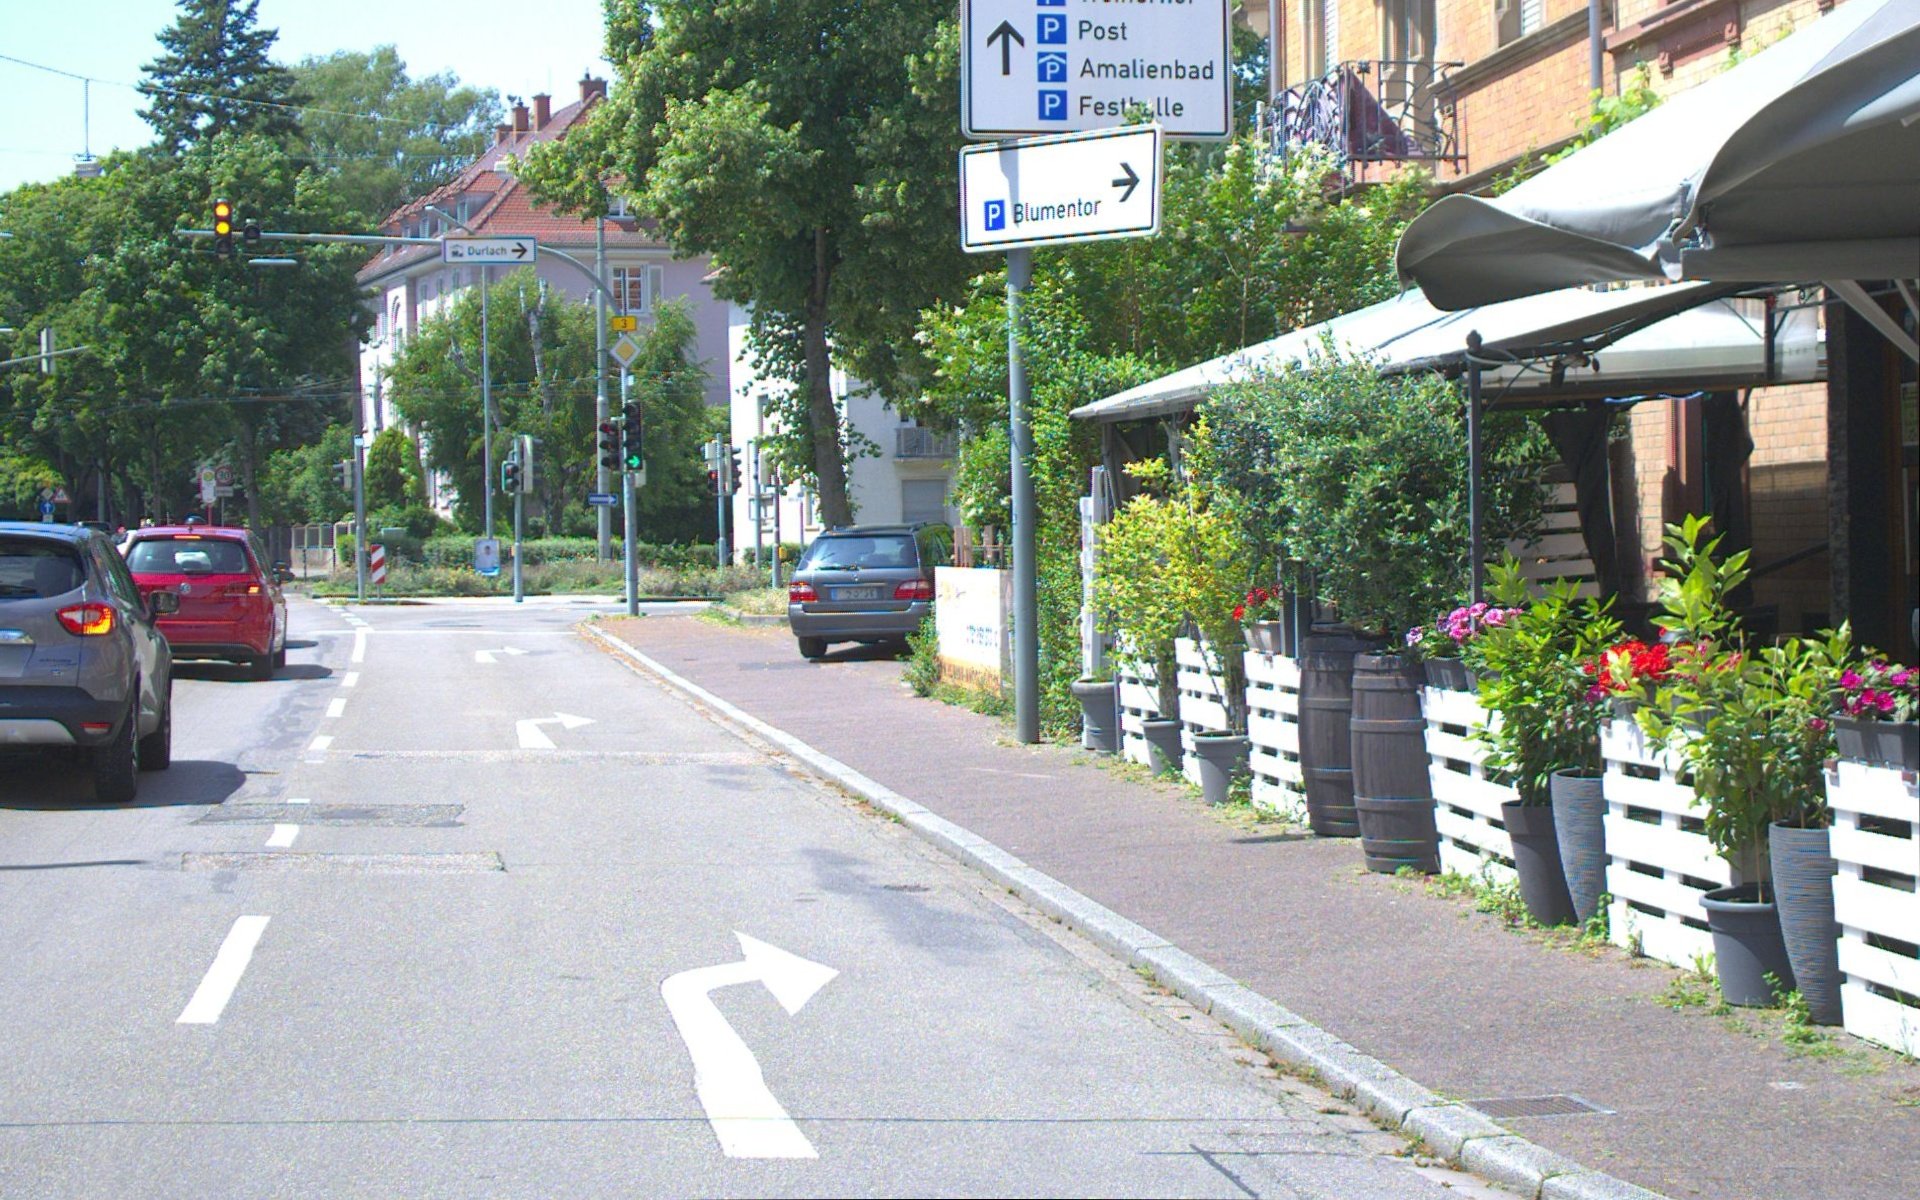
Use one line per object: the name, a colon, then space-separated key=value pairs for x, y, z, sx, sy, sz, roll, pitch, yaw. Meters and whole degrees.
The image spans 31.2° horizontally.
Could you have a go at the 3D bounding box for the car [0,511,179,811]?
car: x=-5.743 y=0.286 z=20.614 sx=1.753 sy=1.626 sz=4.001 roll=0 pitch=1 yaw=-8

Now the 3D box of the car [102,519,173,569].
car: x=-30.524 y=-2.081 z=127.532 sx=1.993 sy=1.801 sz=4.001 roll=0 pitch=1 yaw=-22

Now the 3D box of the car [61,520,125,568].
car: x=-35.351 y=-2.280 z=140.122 sx=1.993 sy=1.900 sz=4.001 roll=0 pitch=1 yaw=-22

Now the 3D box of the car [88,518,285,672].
car: x=-8.257 y=-0.078 z=36.970 sx=1.798 sy=1.552 sz=4.038 roll=0 pitch=1 yaw=-9

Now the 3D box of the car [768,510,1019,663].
car: x=-0.689 y=-0.212 z=39.935 sx=1.835 sy=1.543 sz=5.154 roll=-1 pitch=2 yaw=11

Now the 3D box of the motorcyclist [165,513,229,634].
motorcyclist: x=-9.251 y=-0.331 z=41.704 sx=0.710 sy=1.440 sz=1.019 roll=0 pitch=1 yaw=-11

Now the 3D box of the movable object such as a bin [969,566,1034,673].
movable object such as a bin: x=0.427 y=0.194 z=34.964 sx=0.649 sy=1.068 sz=0.637 roll=0 pitch=1 yaw=1
